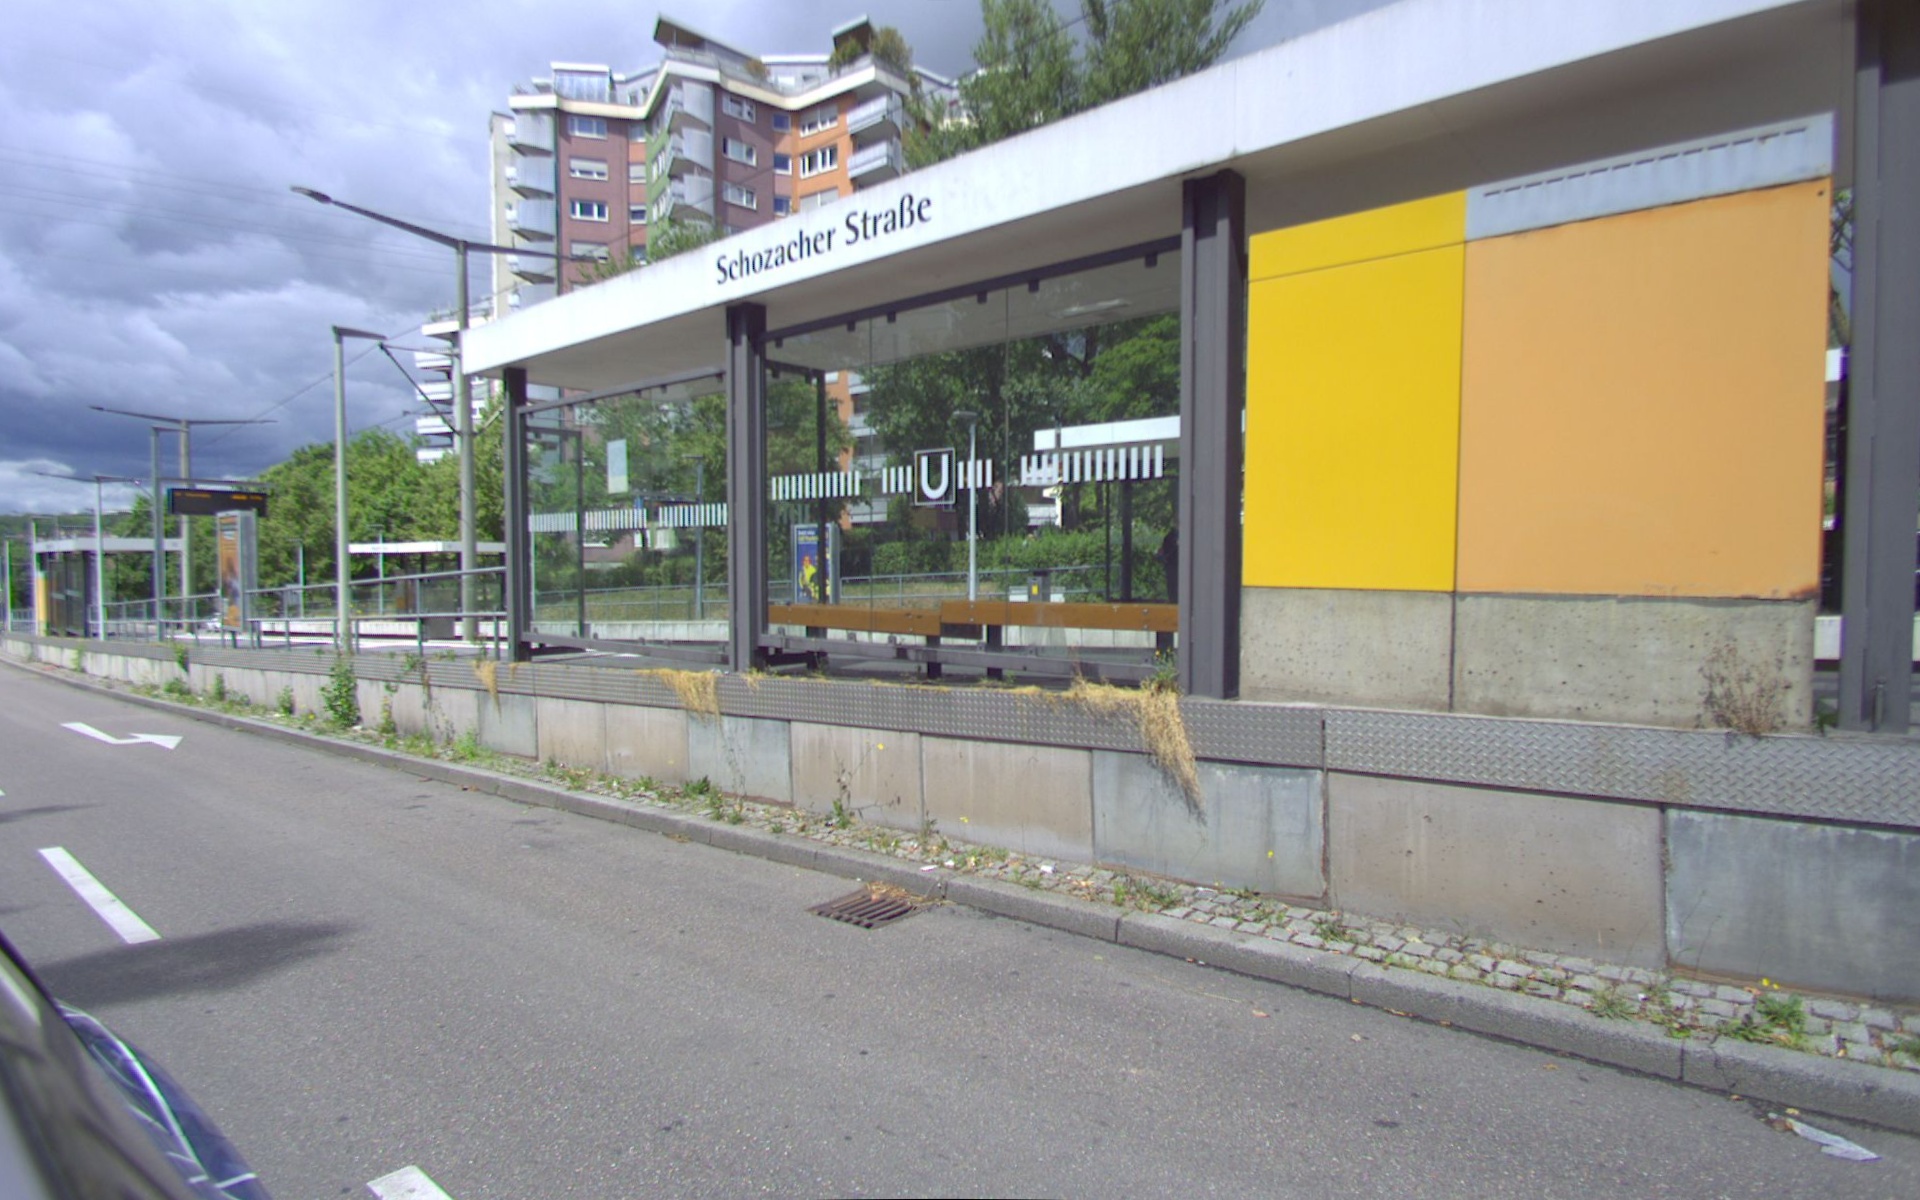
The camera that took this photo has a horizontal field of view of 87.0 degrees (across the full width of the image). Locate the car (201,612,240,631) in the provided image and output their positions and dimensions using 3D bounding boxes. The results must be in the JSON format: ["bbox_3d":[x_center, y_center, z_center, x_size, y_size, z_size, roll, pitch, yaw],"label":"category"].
[{"bbox_3d":[-56.496,1.652,77.310,3.999,1.429,1.637,-1,0,42],"label":"car"}]

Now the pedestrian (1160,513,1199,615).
[{"bbox_3d":[3.615,-0.579,16.696,0.558,1.657,0.520,-1,-1,9],"label":"pedestrian"}]

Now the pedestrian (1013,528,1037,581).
[{"bbox_3d":[2.181,-1.510,33.856,0.504,1.725,0.643,-1,-1,41],"label":"pedestrian"}]

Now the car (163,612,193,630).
[{"bbox_3d":[-68.644,1.821,88.780,1.635,1.524,3.740,-1,0,-45],"label":"car"}]

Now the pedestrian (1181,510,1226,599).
[{"bbox_3d":[3.911,-0.726,16.236,0.520,1.390,0.537,2,1,32],"label":"pedestrian"}]
